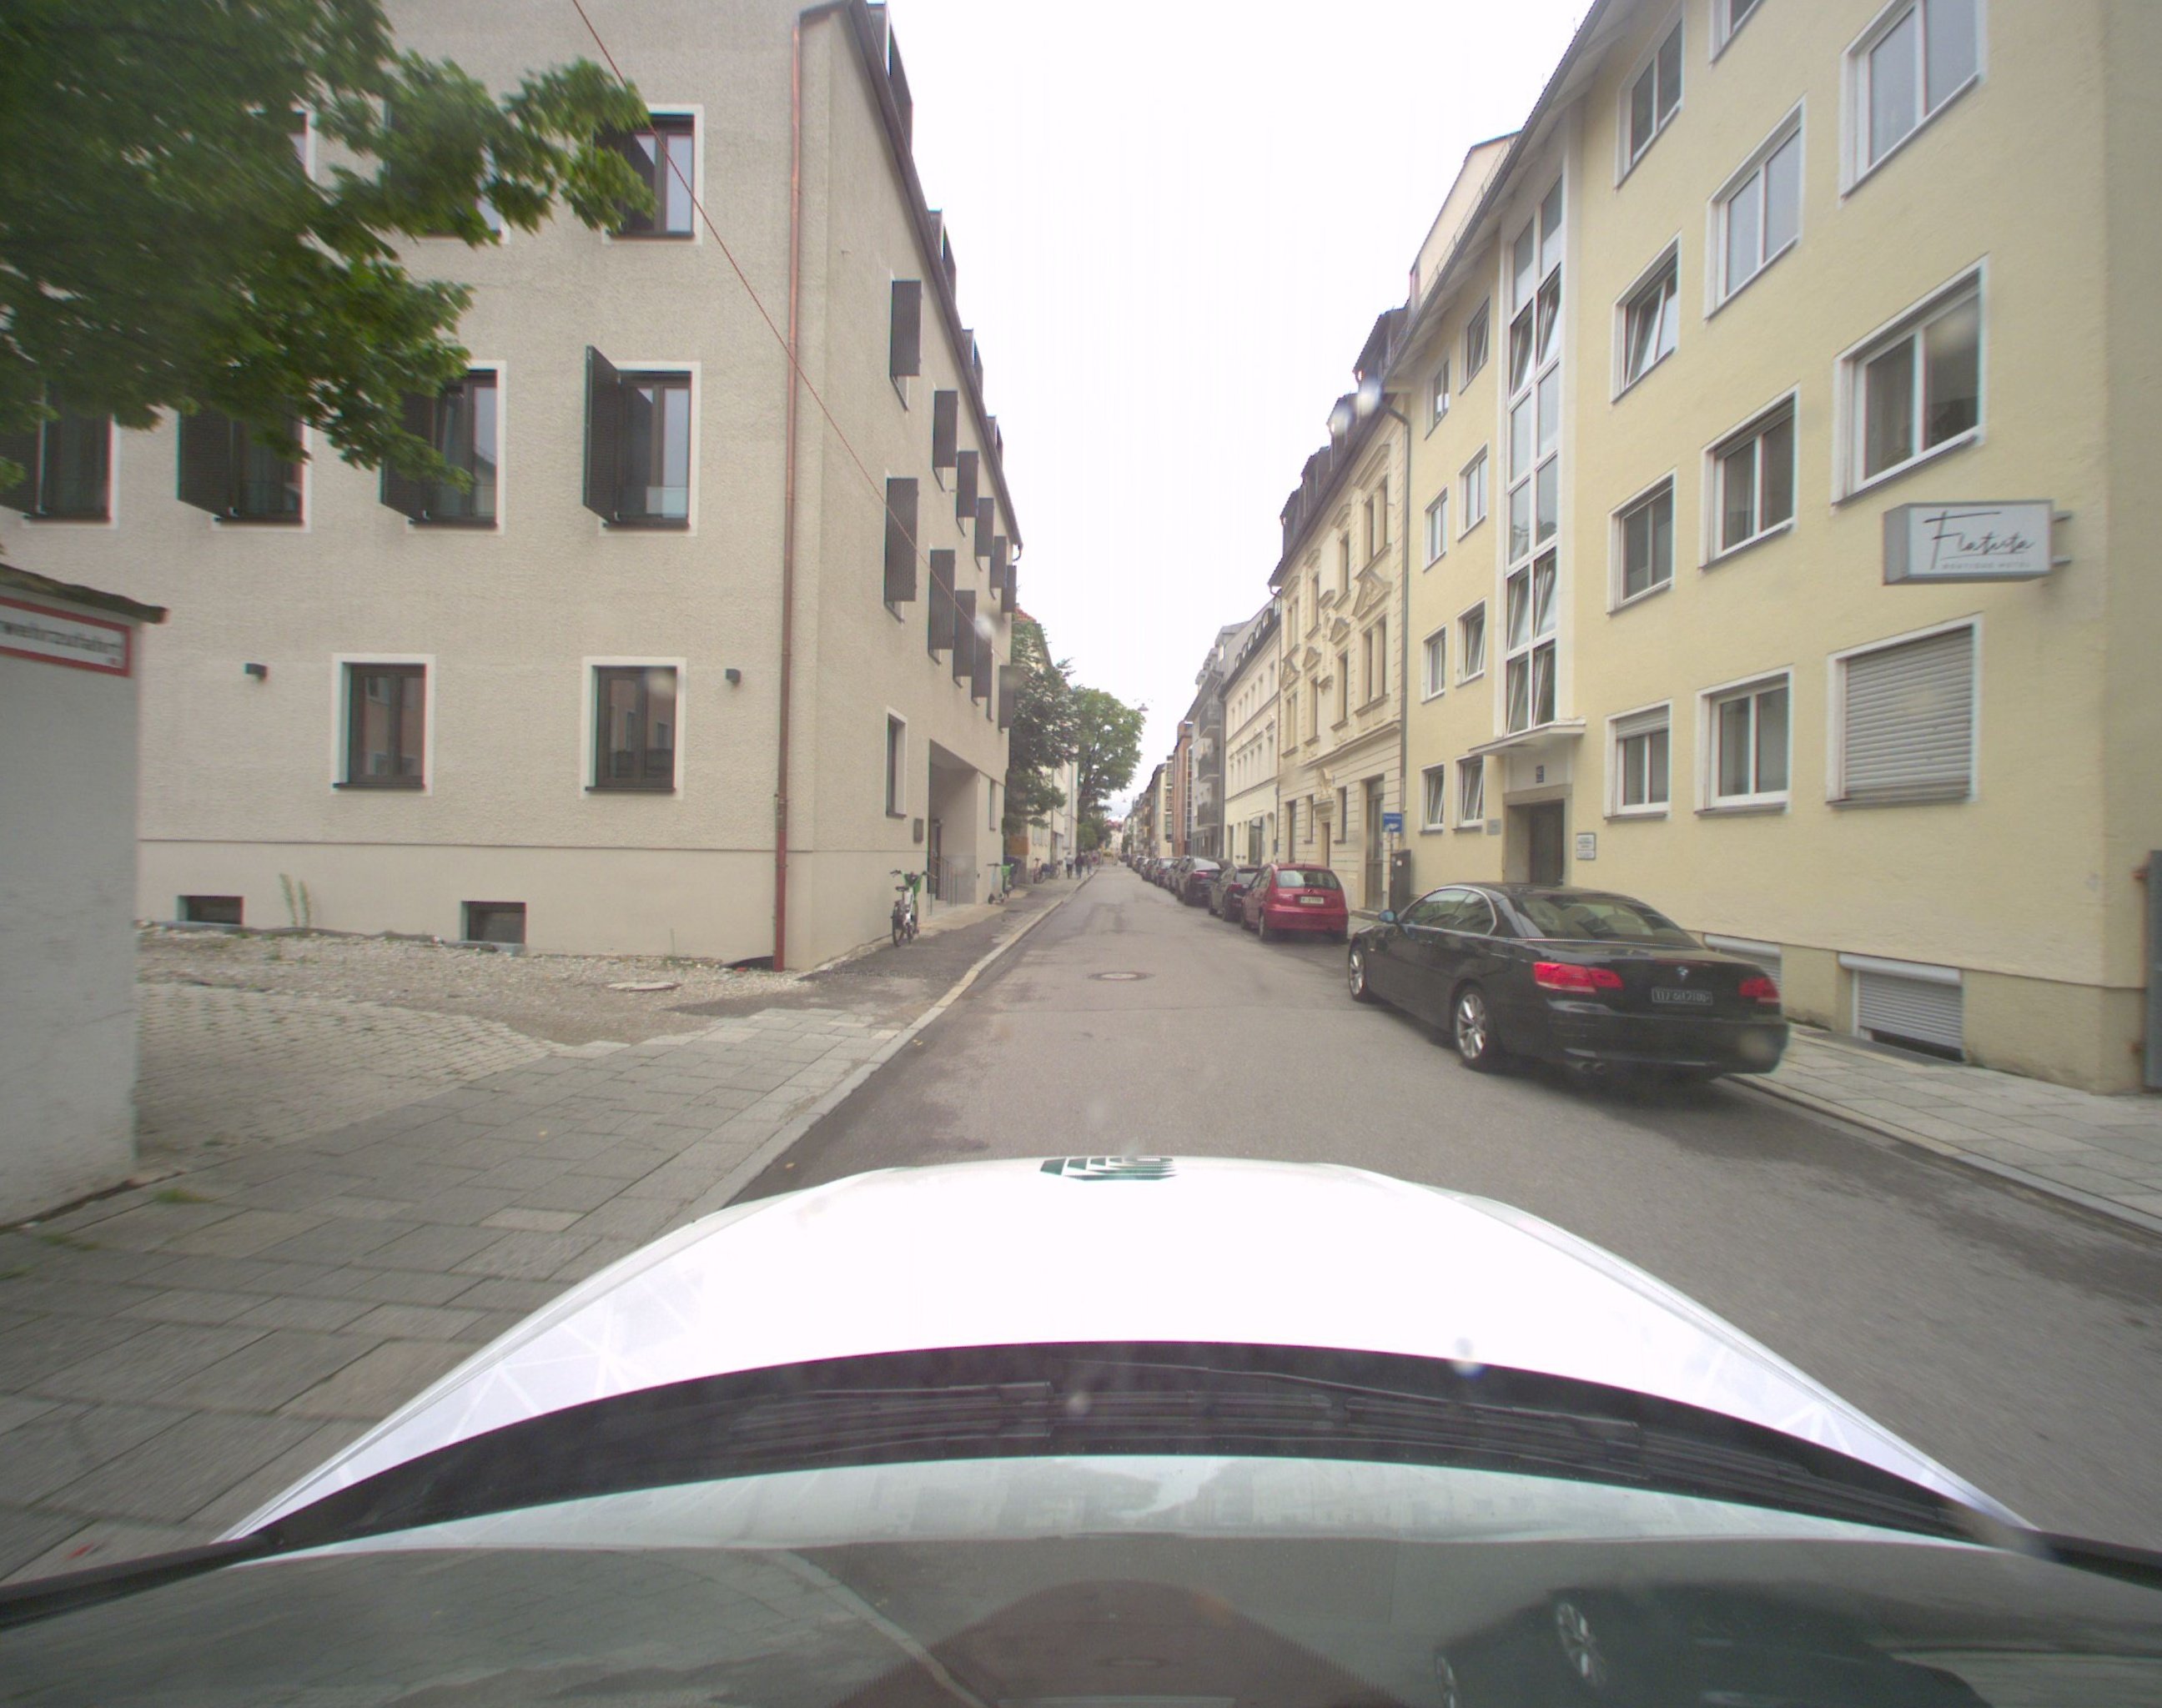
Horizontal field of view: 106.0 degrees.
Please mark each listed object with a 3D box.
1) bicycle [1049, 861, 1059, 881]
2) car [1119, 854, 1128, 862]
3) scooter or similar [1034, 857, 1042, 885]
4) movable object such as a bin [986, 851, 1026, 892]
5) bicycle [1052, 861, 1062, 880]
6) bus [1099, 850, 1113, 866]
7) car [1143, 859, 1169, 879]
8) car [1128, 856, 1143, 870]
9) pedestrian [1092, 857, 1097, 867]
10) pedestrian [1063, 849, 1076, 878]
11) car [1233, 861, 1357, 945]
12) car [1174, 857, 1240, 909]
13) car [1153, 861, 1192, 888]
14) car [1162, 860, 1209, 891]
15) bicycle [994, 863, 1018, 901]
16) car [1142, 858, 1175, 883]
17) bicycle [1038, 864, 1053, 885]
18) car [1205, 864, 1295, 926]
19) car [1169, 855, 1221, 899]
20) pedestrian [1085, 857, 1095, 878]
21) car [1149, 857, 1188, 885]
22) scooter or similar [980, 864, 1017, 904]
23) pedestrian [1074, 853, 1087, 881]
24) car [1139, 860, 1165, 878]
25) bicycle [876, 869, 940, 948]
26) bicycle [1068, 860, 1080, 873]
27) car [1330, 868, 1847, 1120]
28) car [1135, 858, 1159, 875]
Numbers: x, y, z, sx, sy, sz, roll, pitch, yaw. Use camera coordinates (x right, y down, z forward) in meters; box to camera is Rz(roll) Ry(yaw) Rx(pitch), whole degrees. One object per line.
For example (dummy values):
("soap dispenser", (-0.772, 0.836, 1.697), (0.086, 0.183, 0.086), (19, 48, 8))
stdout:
("bicycle", (-1.654, 1.036, 50.008), (0.456, 1.159, 1.606), (3, -1, 3))
("car", (9.953, 1.003, 192.643), (1.795, 1.712, 3.826), (4, 0, 0))
("scooter or similar", (-2.112, 0.821, 40.139), (0.316, 1.376, 1.239), (0, -1, 2))
("movable object such as a bin", (-2.959, 0.679, 32.274), (1.168, 1.442, 1.251), (6, 1, 8))
("bicycle", (-1.511, 1.058, 51.721), (0.560, 1.159, 1.718), (1, -1, -4))
("bus", (4.949, 0.835, 160.692), (2.582, 3.102, 6.309), (0, -1, 2))
("car", (5.867, 1.163, 63.817), (1.739, 1.462, 4.151), (1, 0, 1))
("car", (7.648, 1.271, 114.744), (1.795, 1.820, 3.999), (4, 0, 0))
("pedestrian", (2.150, 1.219, 126.323), (0.753, 1.491, 0.831), (0, -1, 2))
("pedestrian", (-0.744, 0.628, 52.491), (0.715, 1.796, 0.917), (2, -1, 2))
("car", (4.310, 0.928, 16.975), (1.669, 1.492, 3.855), (1, 0, 2))
("car", (4.238, 0.909, 28.083), (1.695, 1.607, 4.687), (1, 0, 2))
("car", (4.850, 1.082, 43.605), (1.800, 1.363, 3.948), (0, 0, 3))
("car", (4.945, 1.010, 39.063), (1.793, 1.386, 4.350), (0, 0, 1))
("bicycle", (-2.455, 0.901, 26.801), (0.542, 1.161, 1.882), (2, 0, 1))
("car", (5.034, 1.071, 53.413), (1.833, 1.528, 4.293), (1, 0, 1))
("bicycle", (-1.819, 1.029, 41.863), (0.702, 0.984, 1.821), (5, -1, -2))
("car", (4.354, 1.007, 21.544), (1.669, 1.393, 4.067), (1, 0, 2))
("car", (4.661, 0.901, 33.924), (1.669, 1.661, 4.514), (1, 0, 2))
("pedestrian", (0.727, 1.115, 66.017), (0.750, 1.659, 0.907), (3, -1, 2))
("car", (5.166, 0.986, 48.521), (1.869, 1.570, 4.316), (-1, 0, 0))
("scooter or similar", (-2.486, 0.890, 24.736), (0.547, 1.144, 1.364), (3, -1, 19))
("pedestrian", (-0.032, 0.864, 52.763), (0.715, 1.765, 0.838), (2, -1, 2))
("car", (5.918, 1.229, 68.418), (1.830, 1.417, 4.602), (1, 0, 1))
("bicycle", (-2.758, 0.839, 13.157), (0.536, 1.139, 1.917), (2, 0, 1))
("bicycle", (-0.675, 1.166, 74.682), (0.643, 1.217, 1.655), (0, -1, -17))
("car", (3.794, 0.893, 7.239), (1.819, 1.334, 4.510), (5, 0, 2))
("car", (6.299, 1.157, 78.265), (1.879, 1.555, 4.391), (1, 0, 0))
